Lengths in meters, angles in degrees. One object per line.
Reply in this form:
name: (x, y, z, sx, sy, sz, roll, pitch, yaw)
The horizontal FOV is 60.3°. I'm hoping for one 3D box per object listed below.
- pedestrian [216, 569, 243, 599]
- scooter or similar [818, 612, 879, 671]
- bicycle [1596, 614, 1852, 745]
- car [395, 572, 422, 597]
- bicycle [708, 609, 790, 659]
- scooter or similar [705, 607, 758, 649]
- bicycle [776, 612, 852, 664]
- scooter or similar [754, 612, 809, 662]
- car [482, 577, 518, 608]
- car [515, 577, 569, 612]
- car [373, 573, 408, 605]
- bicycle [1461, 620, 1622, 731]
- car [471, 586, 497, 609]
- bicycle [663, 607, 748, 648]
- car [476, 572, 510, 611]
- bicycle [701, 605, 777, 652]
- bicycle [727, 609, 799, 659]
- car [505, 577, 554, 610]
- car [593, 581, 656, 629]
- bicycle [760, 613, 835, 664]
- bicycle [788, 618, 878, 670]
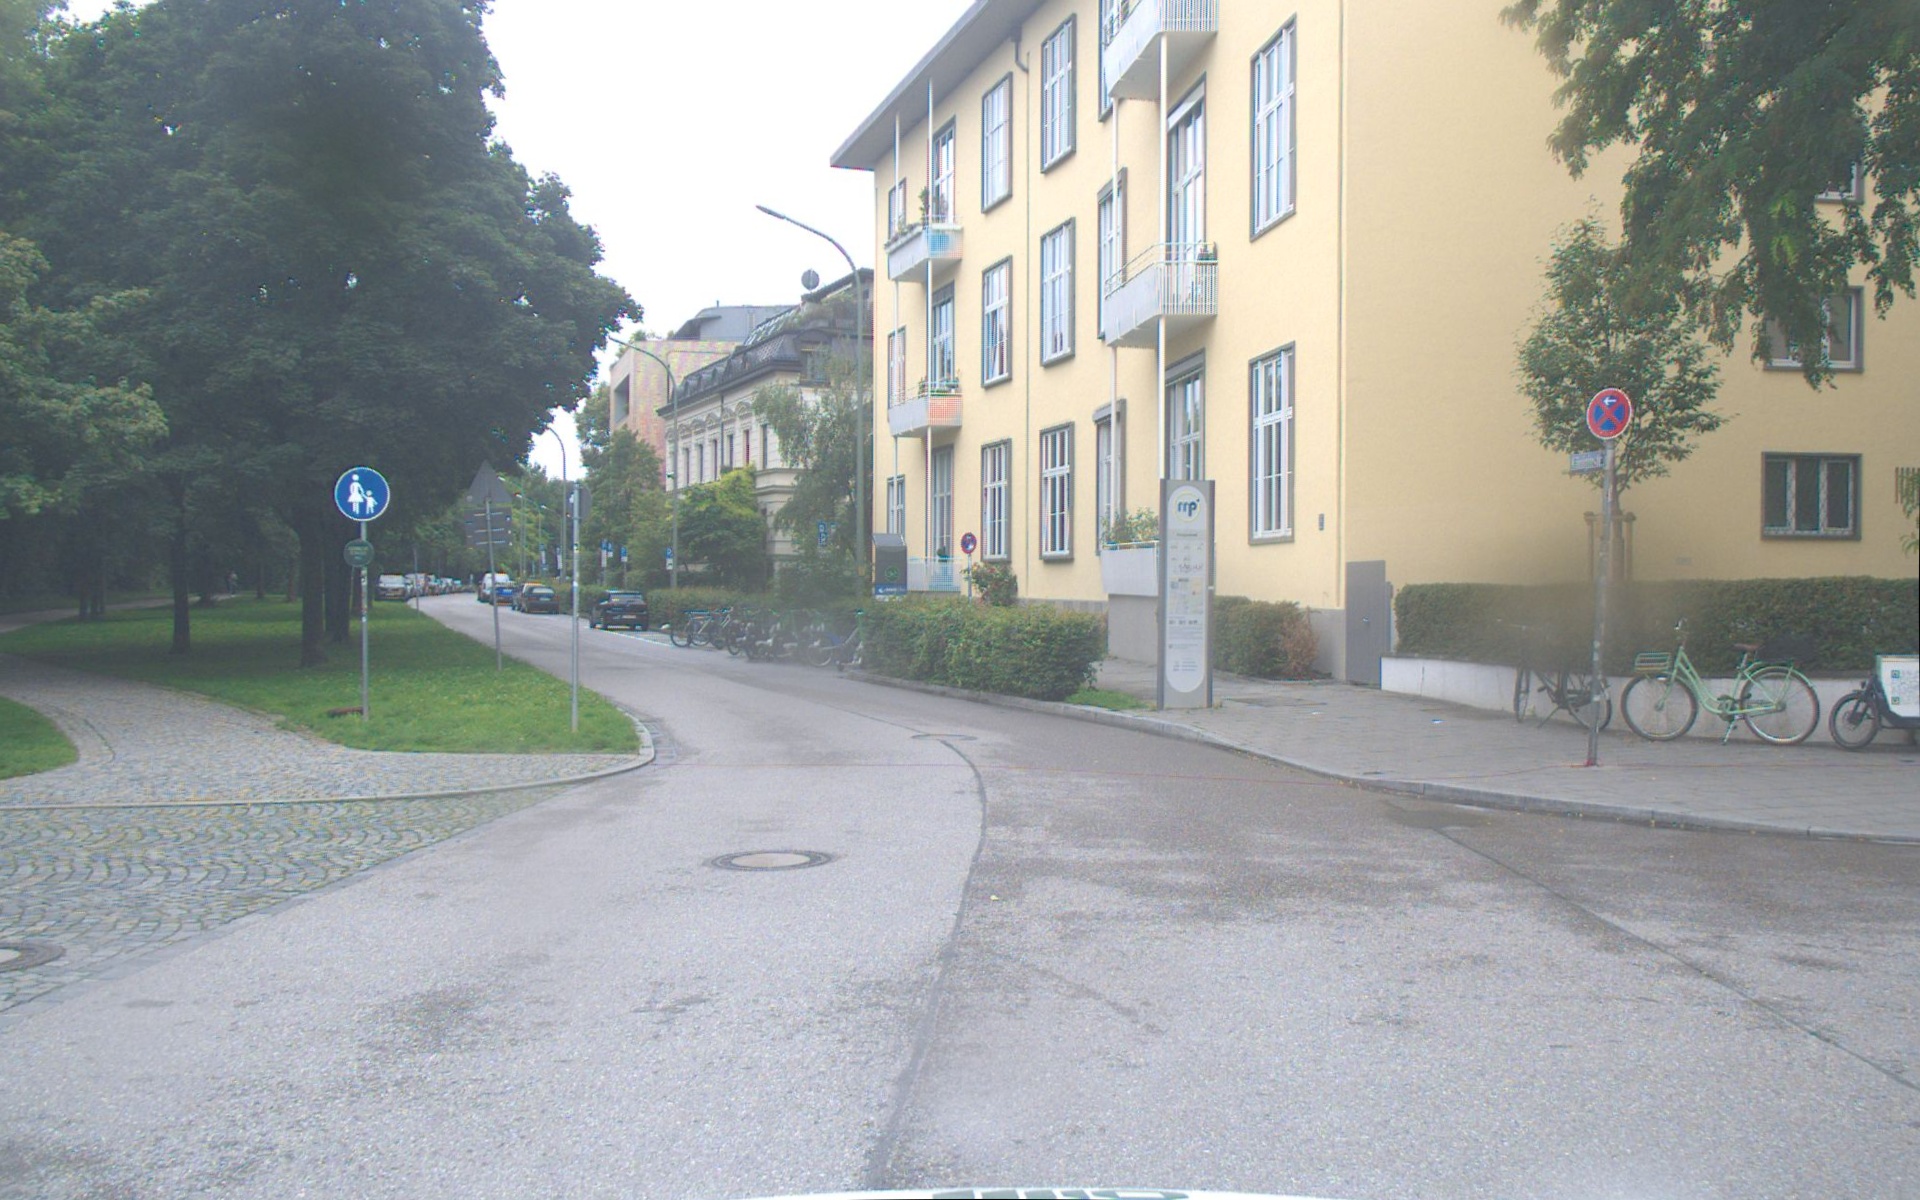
pedestrian: (-48.906, -1.052, 110.774, 1.015, 1.979, 1.322, -1, 0, 37)
scooter or similar: (-2.247, 0.828, 33.523, 0.486, 1.128, 1.406, -1, 0, 32)
bicycle: (7.169, 0.709, 15.637, 0.603, 1.136, 2.189, 0, 0, -36)
car: (-44.679, -1.246, 133.972, 1.964, 1.870, 3.977, -2, 0, -20)
bicycle: (-4.998, 0.786, 39.337, 0.682, 1.104, 2.335, -1, 0, 29)
scooter or similar: (-6.257, 0.771, 45.338, 1.377, 1.107, 0.596, -1, 0, -2)
bicycle: (-3.268, 0.845, 37.145, 0.566, 1.104, 1.926, -1, 0, 36)
scooter or similar: (-4.113, 0.837, 38.162, 0.486, 1.107, 1.406, -1, 0, 32)
car: (-28.965, -0.477, 104.134, 1.848, 1.847, 3.976, -2, 0, -20)
car: (-21.552, -0.266, 85.165, 2.145, 1.686, 4.478, -2, 0, -21)
car: (-35.237, -0.682, 102.308, 1.964, 1.870, 3.977, -2, 0, -20)
bicycle: (6.272, 0.786, 17.986, 0.597, 1.091, 2.211, -1, 0, -11)
car: (-35.736, -0.195, 124.048, 1.620, 1.681, 4.259, 0, 0, -19)
bicycle: (-7.245, 0.778, 47.133, 2.302, 1.104, 0.687, -1, 0, -26)
car: (-32.039, -0.560, 113.397, 1.848, 2.613, 4.902, 0, 0, -20)
bicycle: (-5.493, 0.702, 41.172, 0.748, 1.104, 2.137, -1, 0, 29)
bicycle: (-4.572, 0.784, 38.557, 0.625, 1.104, 1.982, -1, 0, 29)
car: (-23.646, -0.342, 90.688, 2.145, 1.686, 4.478, -2, 0, -21)
car: (-12.493, 0.166, 61.467, 1.834, 1.662, 4.262, -2, 0, -17)
bicycle: (-3.693, 0.863, 37.757, 0.566, 1.104, 1.926, -1, 0, 36)
bicycle: (-2.684, 0.914, 34.869, 1.798, 1.023, 0.573, -1, 0, -23)
